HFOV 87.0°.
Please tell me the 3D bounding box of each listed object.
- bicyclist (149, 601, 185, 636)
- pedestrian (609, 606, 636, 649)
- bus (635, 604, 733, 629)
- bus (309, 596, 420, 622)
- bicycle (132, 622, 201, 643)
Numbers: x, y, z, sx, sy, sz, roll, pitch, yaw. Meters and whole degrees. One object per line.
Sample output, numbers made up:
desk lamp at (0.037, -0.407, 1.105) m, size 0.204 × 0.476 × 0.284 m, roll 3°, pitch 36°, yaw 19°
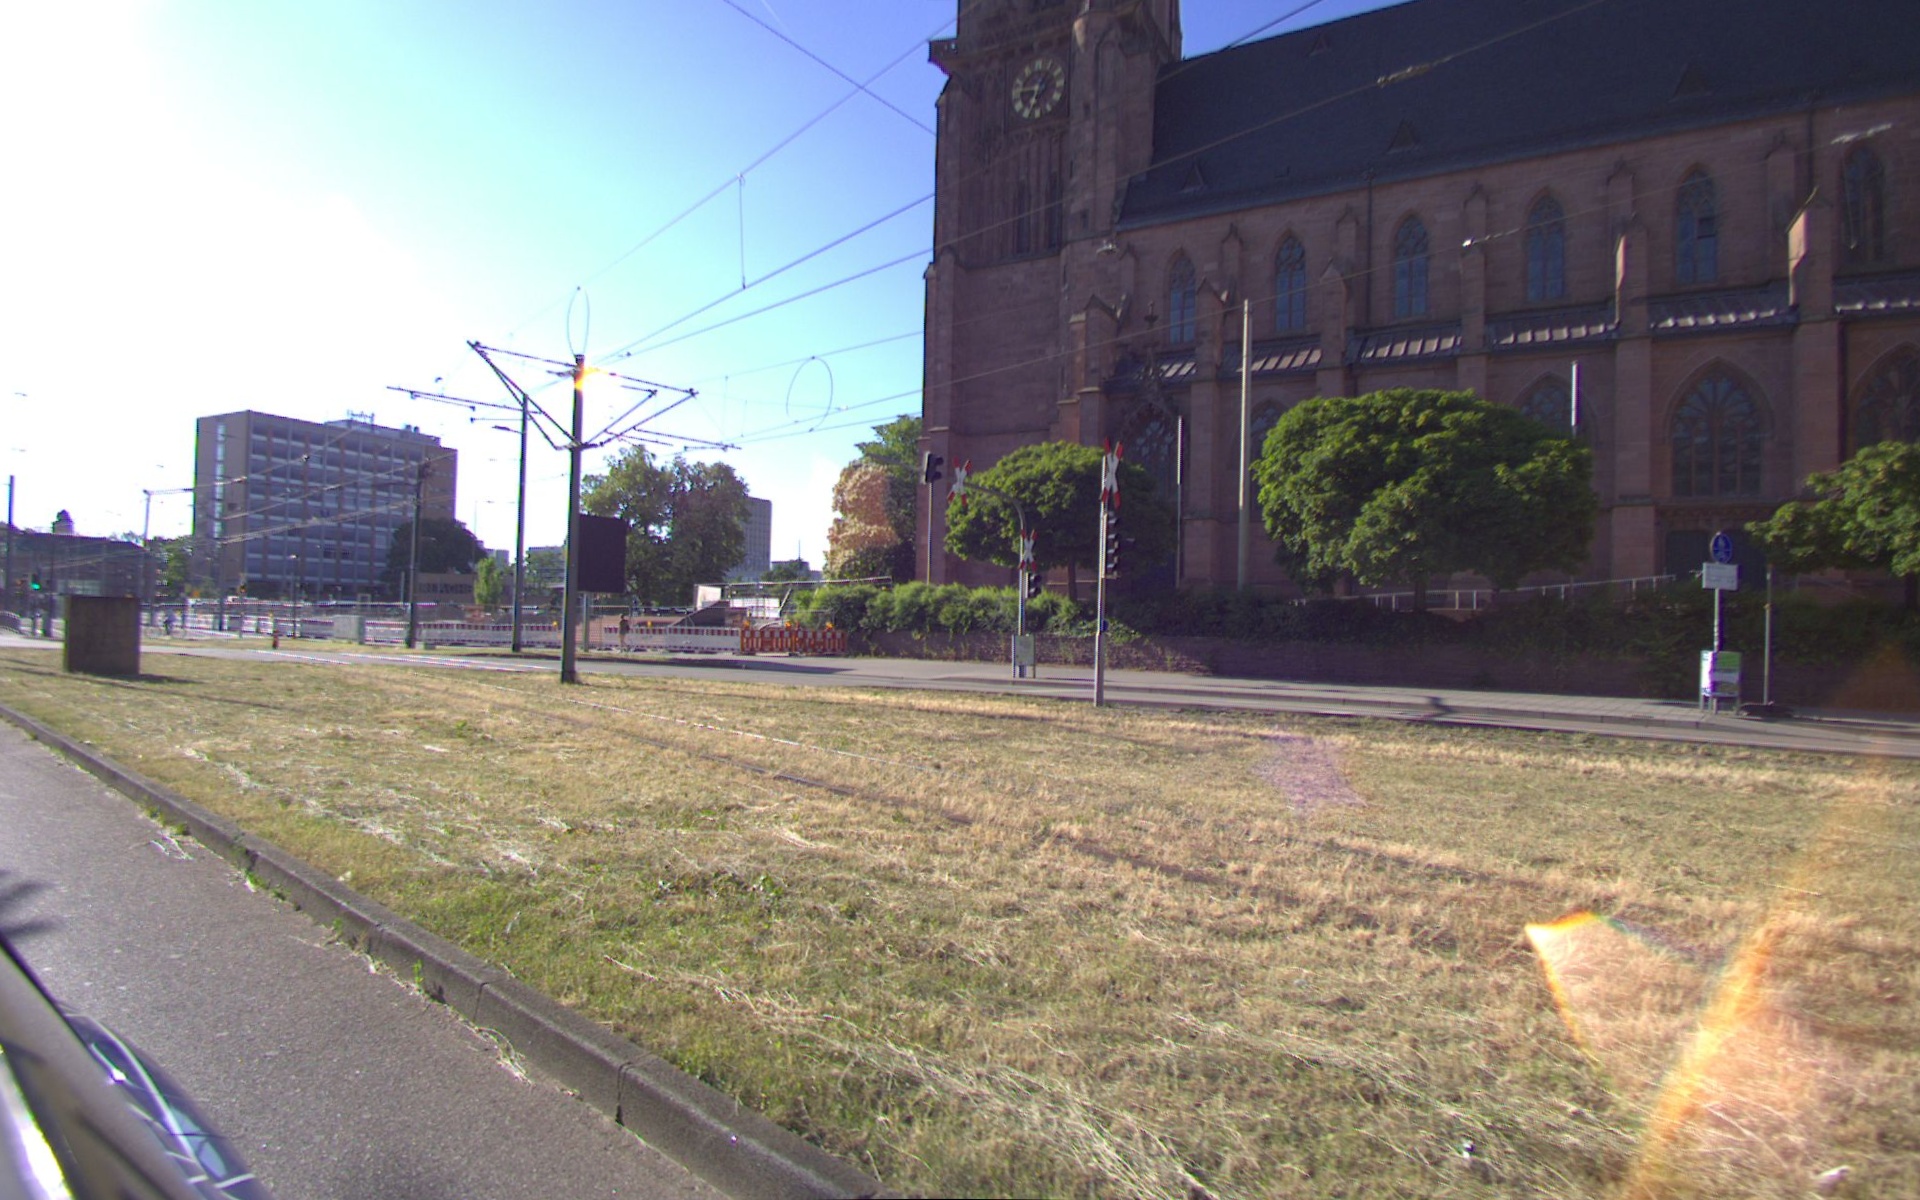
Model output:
bicyclist at (-43.338, 1.016, 55.311) m, size 0.962 × 1.823 × 1.305 m, roll -3°, pitch -4°, yaw 31°
pedestrian at (-14.507, 1.188, 43.508) m, size 0.862 × 1.787 × 0.721 m, roll -3°, pitch -5°, yaw 38°
bus at (-37.244, 2.194, 136.996) m, size 12.466 × 3.219 × 3.255 m, roll 0°, pitch -4°, yaw -5°
bus at (-78.042, 1.193, 132.804) m, size 12.466 × 3.219 × 2.845 m, roll 0°, pitch -4°, yaw -5°
bicycle at (-43.301, 1.768, 55.261) m, size 0.962 × 1.105 × 2.794 m, roll -3°, pitch -4°, yaw 31°
